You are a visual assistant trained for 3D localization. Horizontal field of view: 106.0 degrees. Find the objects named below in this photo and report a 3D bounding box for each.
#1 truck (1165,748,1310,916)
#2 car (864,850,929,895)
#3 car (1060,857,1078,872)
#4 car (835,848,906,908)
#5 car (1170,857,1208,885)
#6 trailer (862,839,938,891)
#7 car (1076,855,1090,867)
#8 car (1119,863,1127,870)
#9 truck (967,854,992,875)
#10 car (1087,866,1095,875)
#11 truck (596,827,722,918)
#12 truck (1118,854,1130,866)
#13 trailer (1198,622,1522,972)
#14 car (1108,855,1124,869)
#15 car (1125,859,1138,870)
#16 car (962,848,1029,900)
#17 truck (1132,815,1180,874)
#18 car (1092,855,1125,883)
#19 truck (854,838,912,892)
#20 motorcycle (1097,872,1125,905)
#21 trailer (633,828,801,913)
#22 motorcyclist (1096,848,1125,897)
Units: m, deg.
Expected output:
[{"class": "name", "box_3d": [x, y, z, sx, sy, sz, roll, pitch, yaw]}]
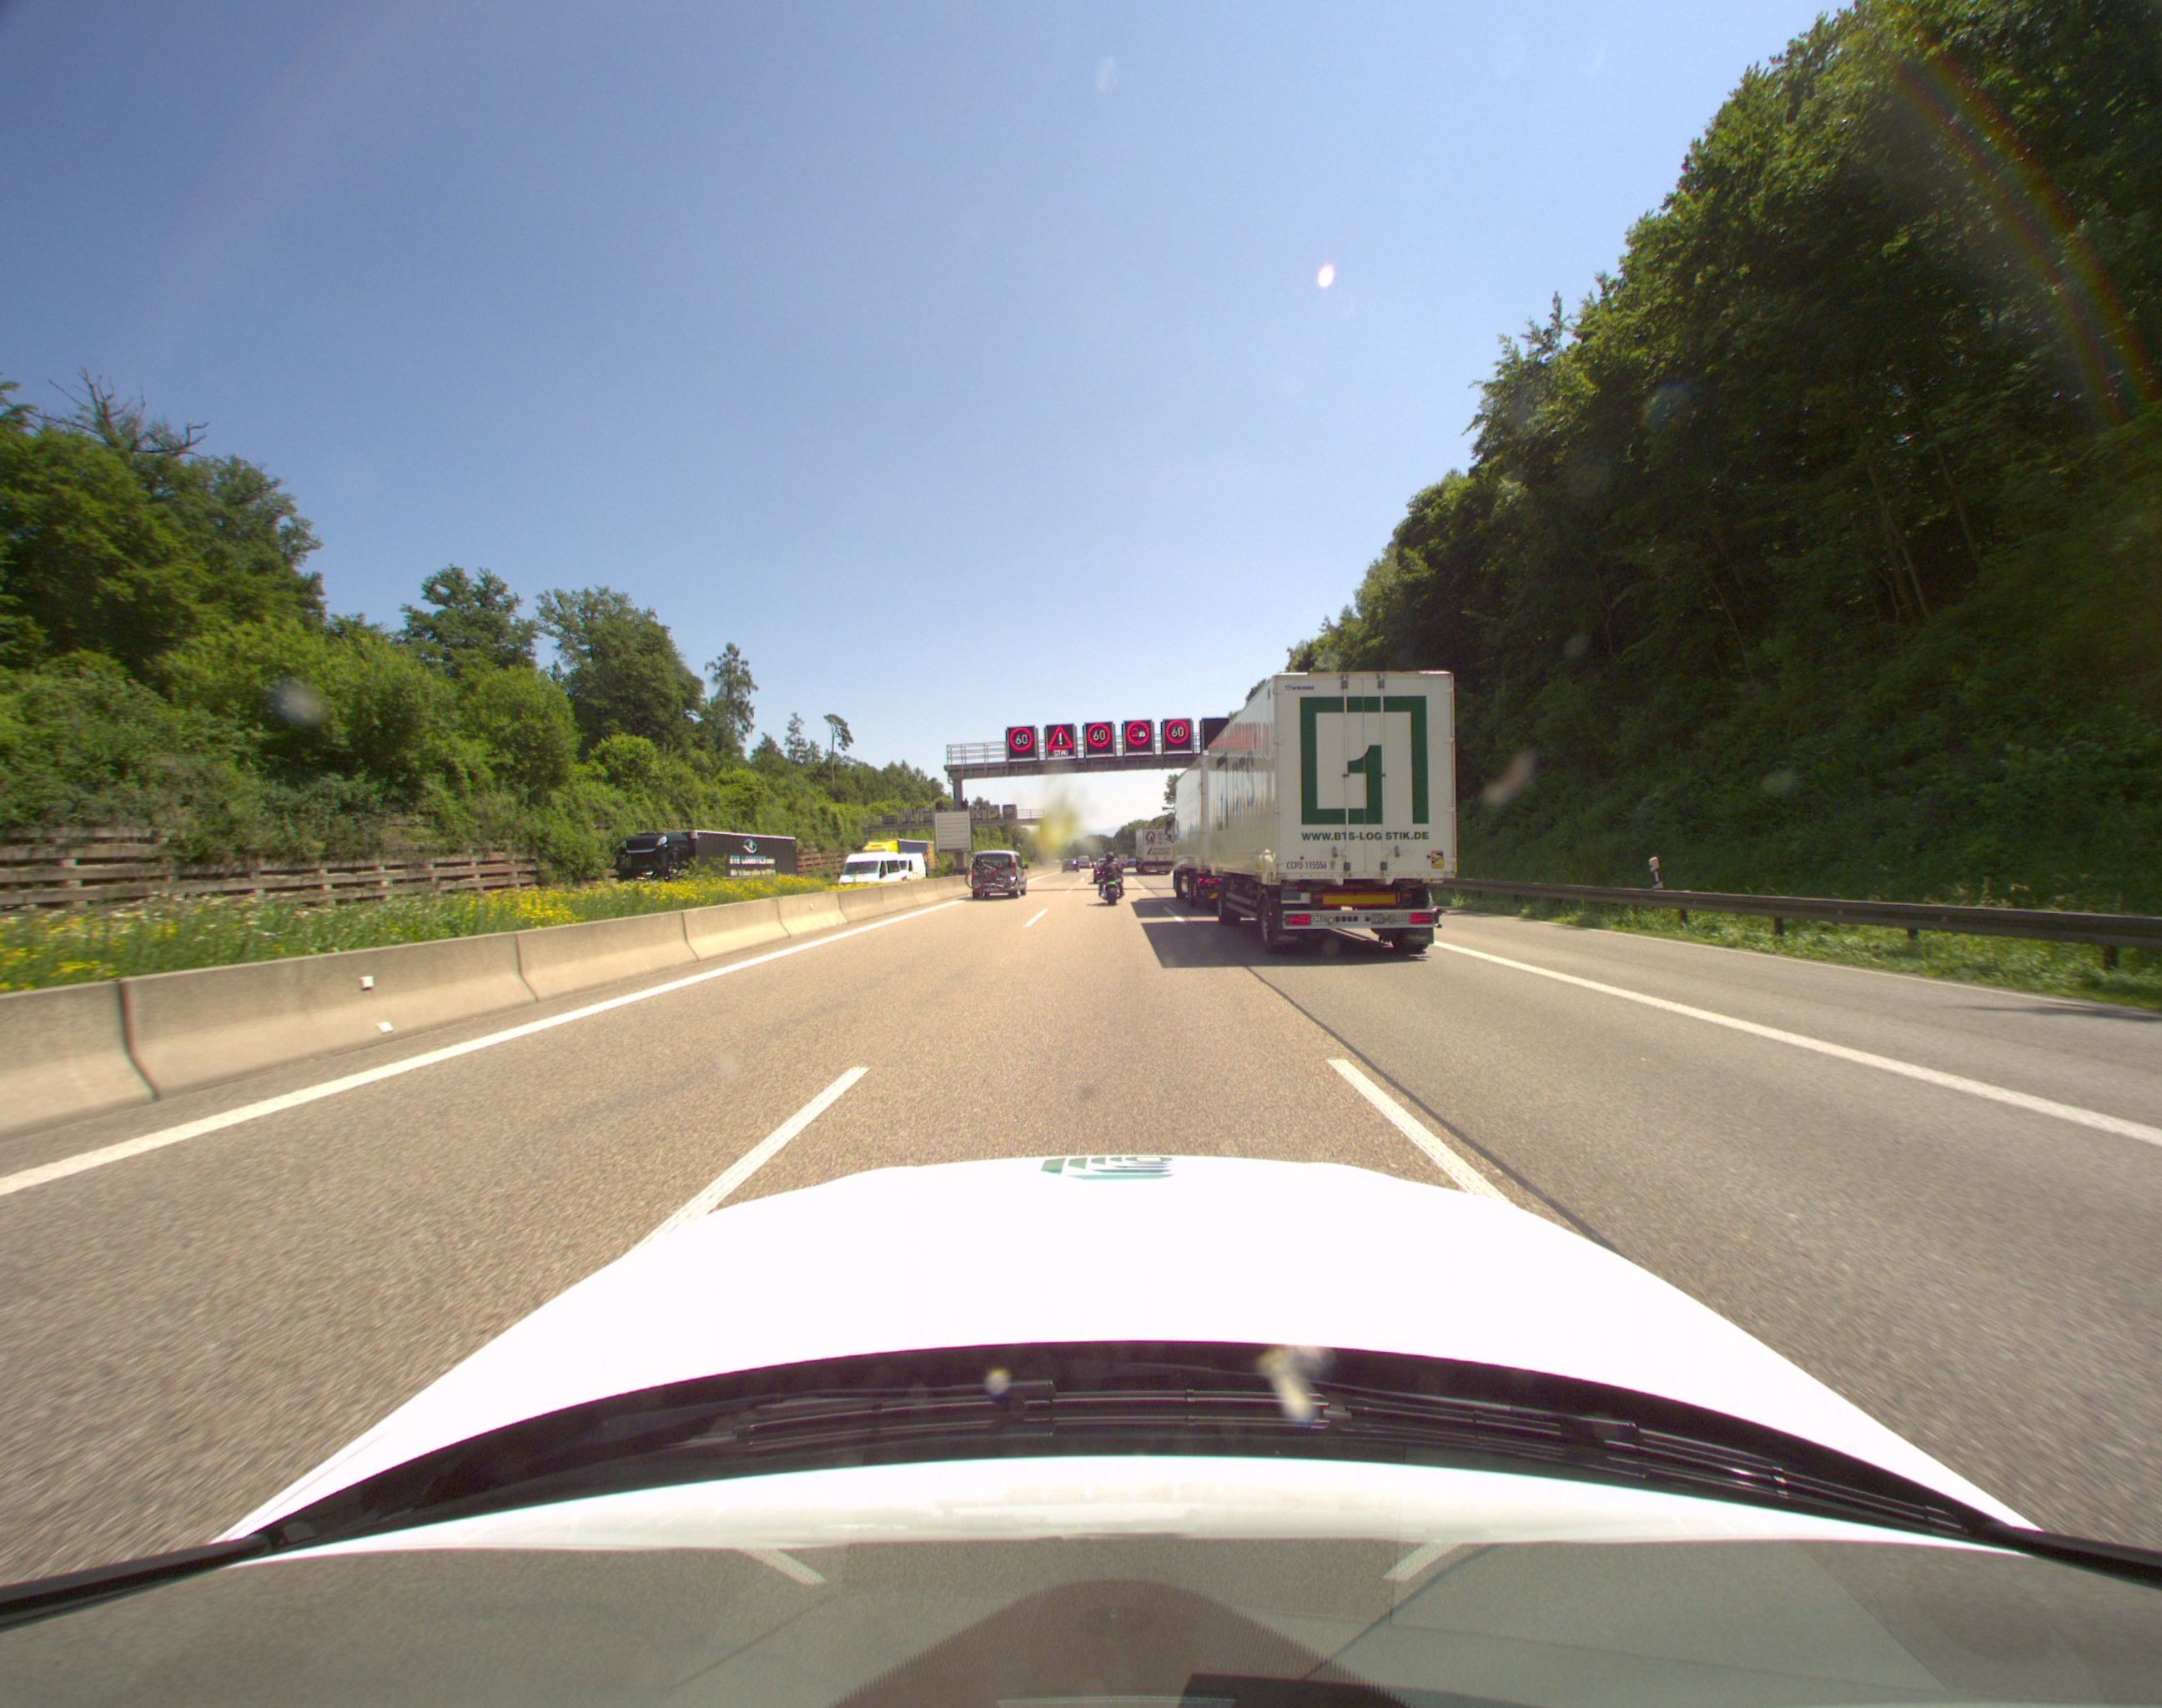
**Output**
[{"class": "truck", "box_3d": [4.375, -0.507, 25.212, 2.670, 4.059, 10.628, -1, 0, 2]}, {"class": "car", "box_3d": [-12.136, 1.156, 54.115, 2.744, 2.673, 5.686, -3, 0, 1]}, {"class": "car", "box_3d": [-1.249, 1.167, 88.231, 1.751, 1.544, 4.396, -1, 0, 1]}, {"class": "car", "box_3d": [-10.219, 1.111, 39.929, 1.991, 2.673, 4.847, -3, 0, 1]}, {"class": "car", "box_3d": [6.442, 0.973, 48.909, 1.838, 1.557, 4.393, -1, 0, 1]}, {"class": "trailer", "box_3d": [-16.550, 0.936, 76.060, 2.966, 4.207, 14.474, -4, 0, 3]}, {"class": "car", "box_3d": [0.324, 1.003, 120.494, 1.824, 1.810, 4.121, -1, 0, 1]}, {"class": "car", "box_3d": [10.567, 3.171, 206.437, 1.824, 1.527, 4.028, -1, 0, 1]}, {"class": "truck", "box_3d": [-15.524, 1.512, 124.563, 2.570, 2.992, 7.064, -3, 0, 2]}, {"class": "car", "box_3d": [2.261, 3.700, 184.763, 1.824, 1.810, 4.121, -1, 0, 1]}, {"class": "truck", "box_3d": [-21.029, 0.879, 41.053, 2.923, 4.059, 5.870, -4, 0, 2]}, {"class": "truck", "box_3d": [12.078, 1.667, 230.595, 3.056, 3.346, 9.656, 0, 0, 2]}, {"class": "trailer", "box_3d": [4.068, -0.661, 14.822, 2.670, 4.176, 10.068, -1, 0, 2]}, {"class": "car", "box_3d": [4.094, 0.908, 95.437, 1.824, 1.558, 4.121, -1, 0, 1]}, {"class": "car", "box_3d": [7.643, 1.589, 123.875, 1.824, 1.527, 4.028, -1, 0, 1]}, {"class": "car", "box_3d": [-3.245, 0.743, 31.999, 1.891, 1.848, 5.484, -1, -1, 2]}, {"class": "truck", "box_3d": [6.688, -0.734, 75.068, 3.370, 4.718, 17.715, 0, 0, 2]}, {"class": "car", "box_3d": [1.635, 0.869, 48.762, 1.838, 1.557, 4.441, -1, 0, 1]}, {"class": "truck", "box_3d": [-16.847, 0.909, 69.650, 2.940, 4.202, 6.460, -4, 0, 2]}, {"class": "motorcycle", "box_3d": [0.965, 1.073, 25.819, 0.859, 0.982, 2.132, -1, -1, 3]}, {"class": "trailer", "box_3d": [-20.760, 0.873, 48.062, 2.967, 4.101, 14.000, -4, 0, 2]}, {"class": "motorcyclist", "box_3d": [0.942, 0.581, 25.757, 0.852, 1.515, 0.914, -1, -1, 2]}]
